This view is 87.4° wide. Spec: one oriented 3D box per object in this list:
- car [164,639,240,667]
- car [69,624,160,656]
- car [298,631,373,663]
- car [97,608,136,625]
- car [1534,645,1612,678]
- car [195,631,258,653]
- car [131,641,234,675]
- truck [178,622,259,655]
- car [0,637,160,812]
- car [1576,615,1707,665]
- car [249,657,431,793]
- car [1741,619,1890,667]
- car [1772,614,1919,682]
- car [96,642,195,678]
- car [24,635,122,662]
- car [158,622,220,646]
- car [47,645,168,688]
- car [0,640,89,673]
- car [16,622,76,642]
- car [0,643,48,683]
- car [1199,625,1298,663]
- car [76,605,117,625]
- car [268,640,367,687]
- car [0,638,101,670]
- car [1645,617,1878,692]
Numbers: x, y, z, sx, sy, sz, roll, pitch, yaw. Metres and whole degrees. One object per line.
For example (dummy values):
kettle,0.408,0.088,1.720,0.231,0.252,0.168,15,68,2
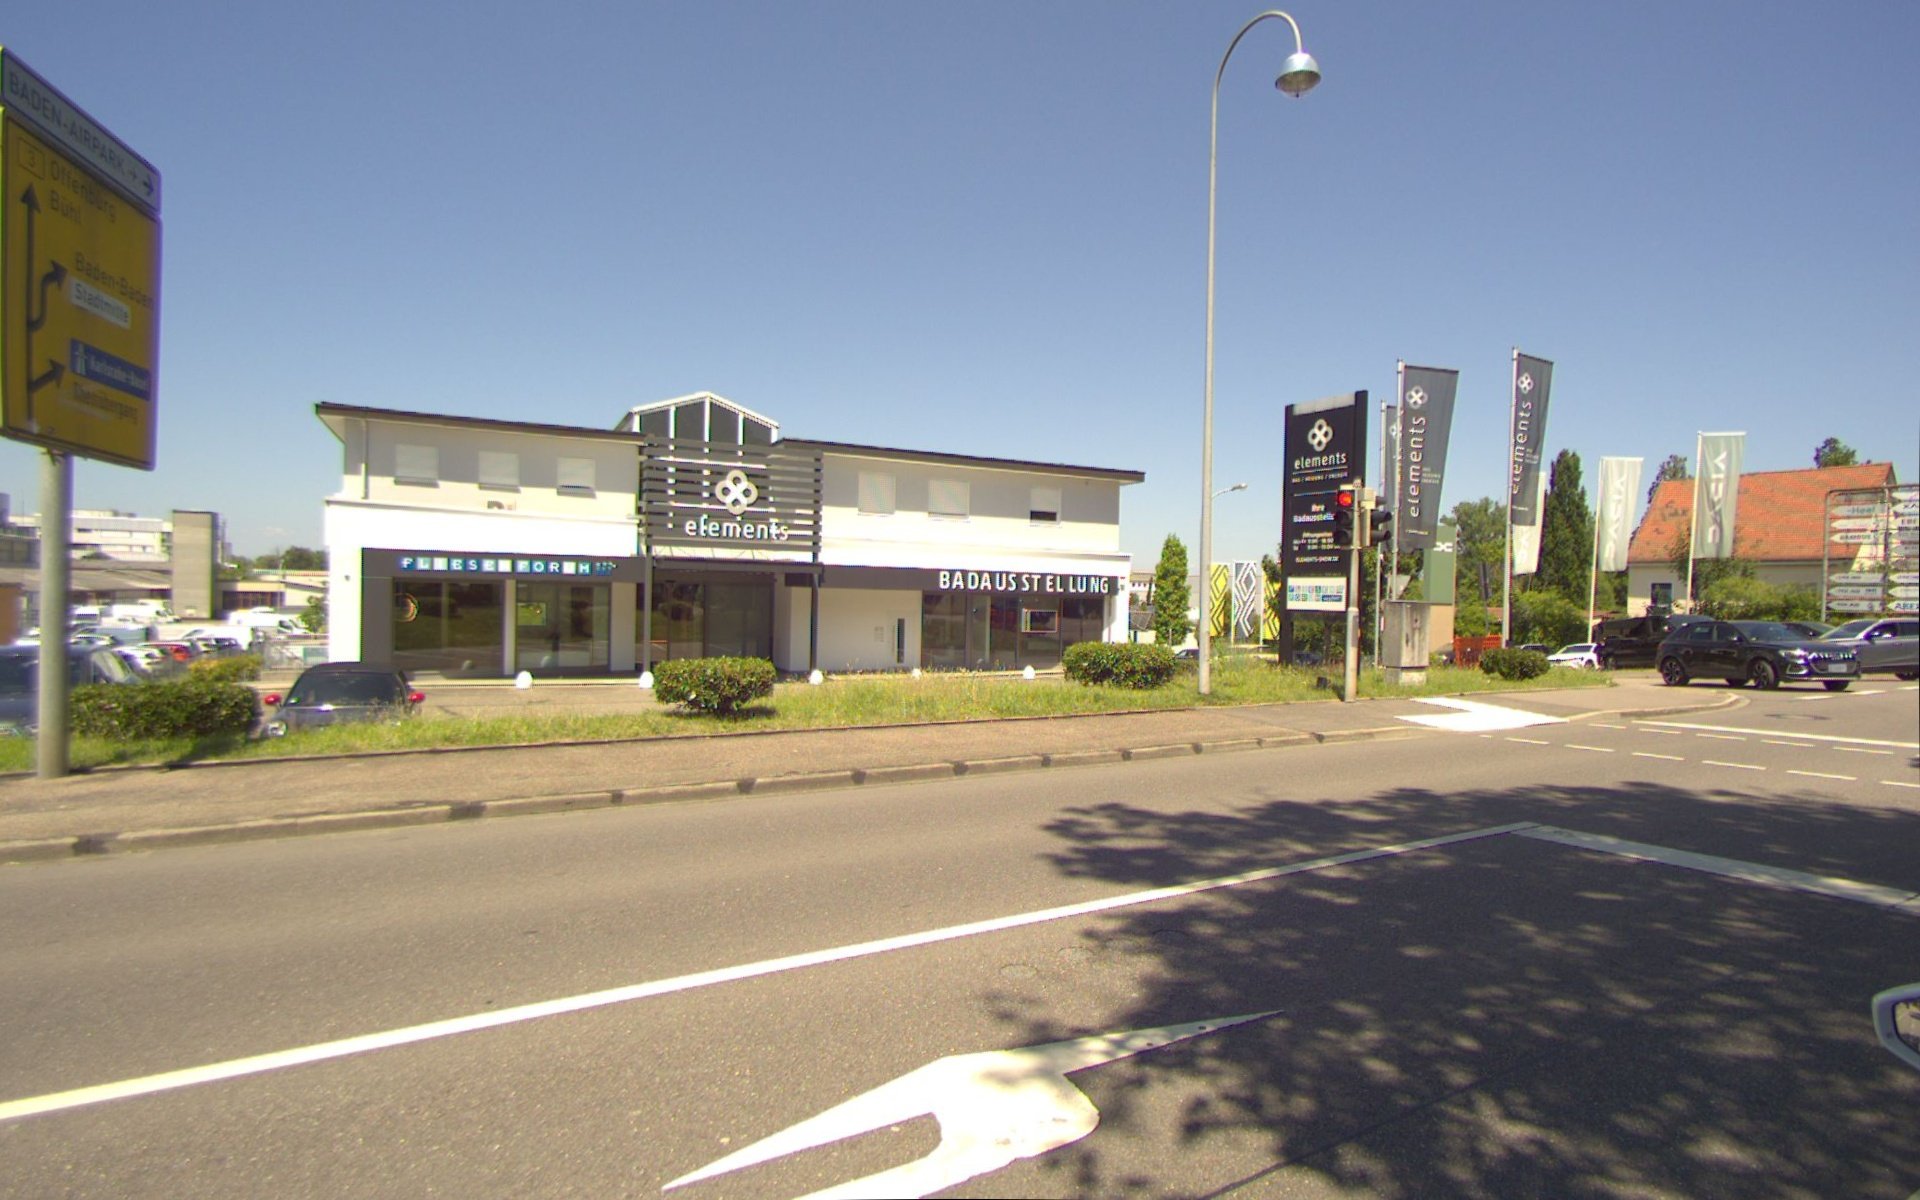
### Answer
car,-43.364,3.025,57.520,3.270,1.484,1.494,2,0,-31
car,-51.782,2.423,61.620,3.953,1.839,1.984,1,0,-30
car,-37.721,2.826,60.757,3.769,1.817,1.765,1,1,-30
car,-81.850,1.573,97.502,1.975,1.617,3.972,1,-1,-27
car,26.495,2.632,43.417,3.211,1.242,1.736,1,0,-35
car,-45.306,2.607,62.075,3.009,1.316,1.295,2,0,-31
car,-40.434,3.005,52.352,3.953,1.657,1.835,2,-1,-30
truck,-47.231,2.472,64.091,3.937,2.003,1.672,2,0,-30
car,-11.791,1.417,12.646,1.871,1.709,4.314,2,0,-28
car,23.730,1.347,35.053,1.585,1.638,3.466,1,-1,-36
car,-8.399,1.598,13.884,1.756,1.442,3.327,1,0,-26
car,27.906,1.363,32.845,1.585,1.446,3.466,1,-1,-36
car,25.198,1.295,27.481,4.222,1.740,1.886,1,0,9
car,-38.958,2.846,48.143,3.427,1.614,1.712,2,0,-30
car,-51.646,2.816,58.558,3.953,1.494,1.743,2,0,-30
car,-52.408,2.333,68.336,3.089,1.554,1.672,2,0,-30
car,-37.449,2.903,44.247,3.773,1.750,1.738,2,0,-30
car,-46.761,2.846,51.206,3.283,1.567,1.518,2,0,-30
car,-70.183,2.456,77.198,3.089,1.403,1.672,2,0,-30
car,-43.434,2.797,44.666,3.953,1.674,1.735,2,0,-30
car,12.770,1.915,44.765,1.972,1.507,4.284,1,0,-24
car,-86.771,1.513,101.001,1.972,1.853,3.978,2,0,-23
car,-30.241,2.937,47.406,1.838,1.965,3.790,1,0,8
car,-49.492,2.905,54.604,3.953,1.627,1.823,2,-1,-30
car,18.458,1.194,23.430,1.891,1.546,4.306,1,-1,-2
